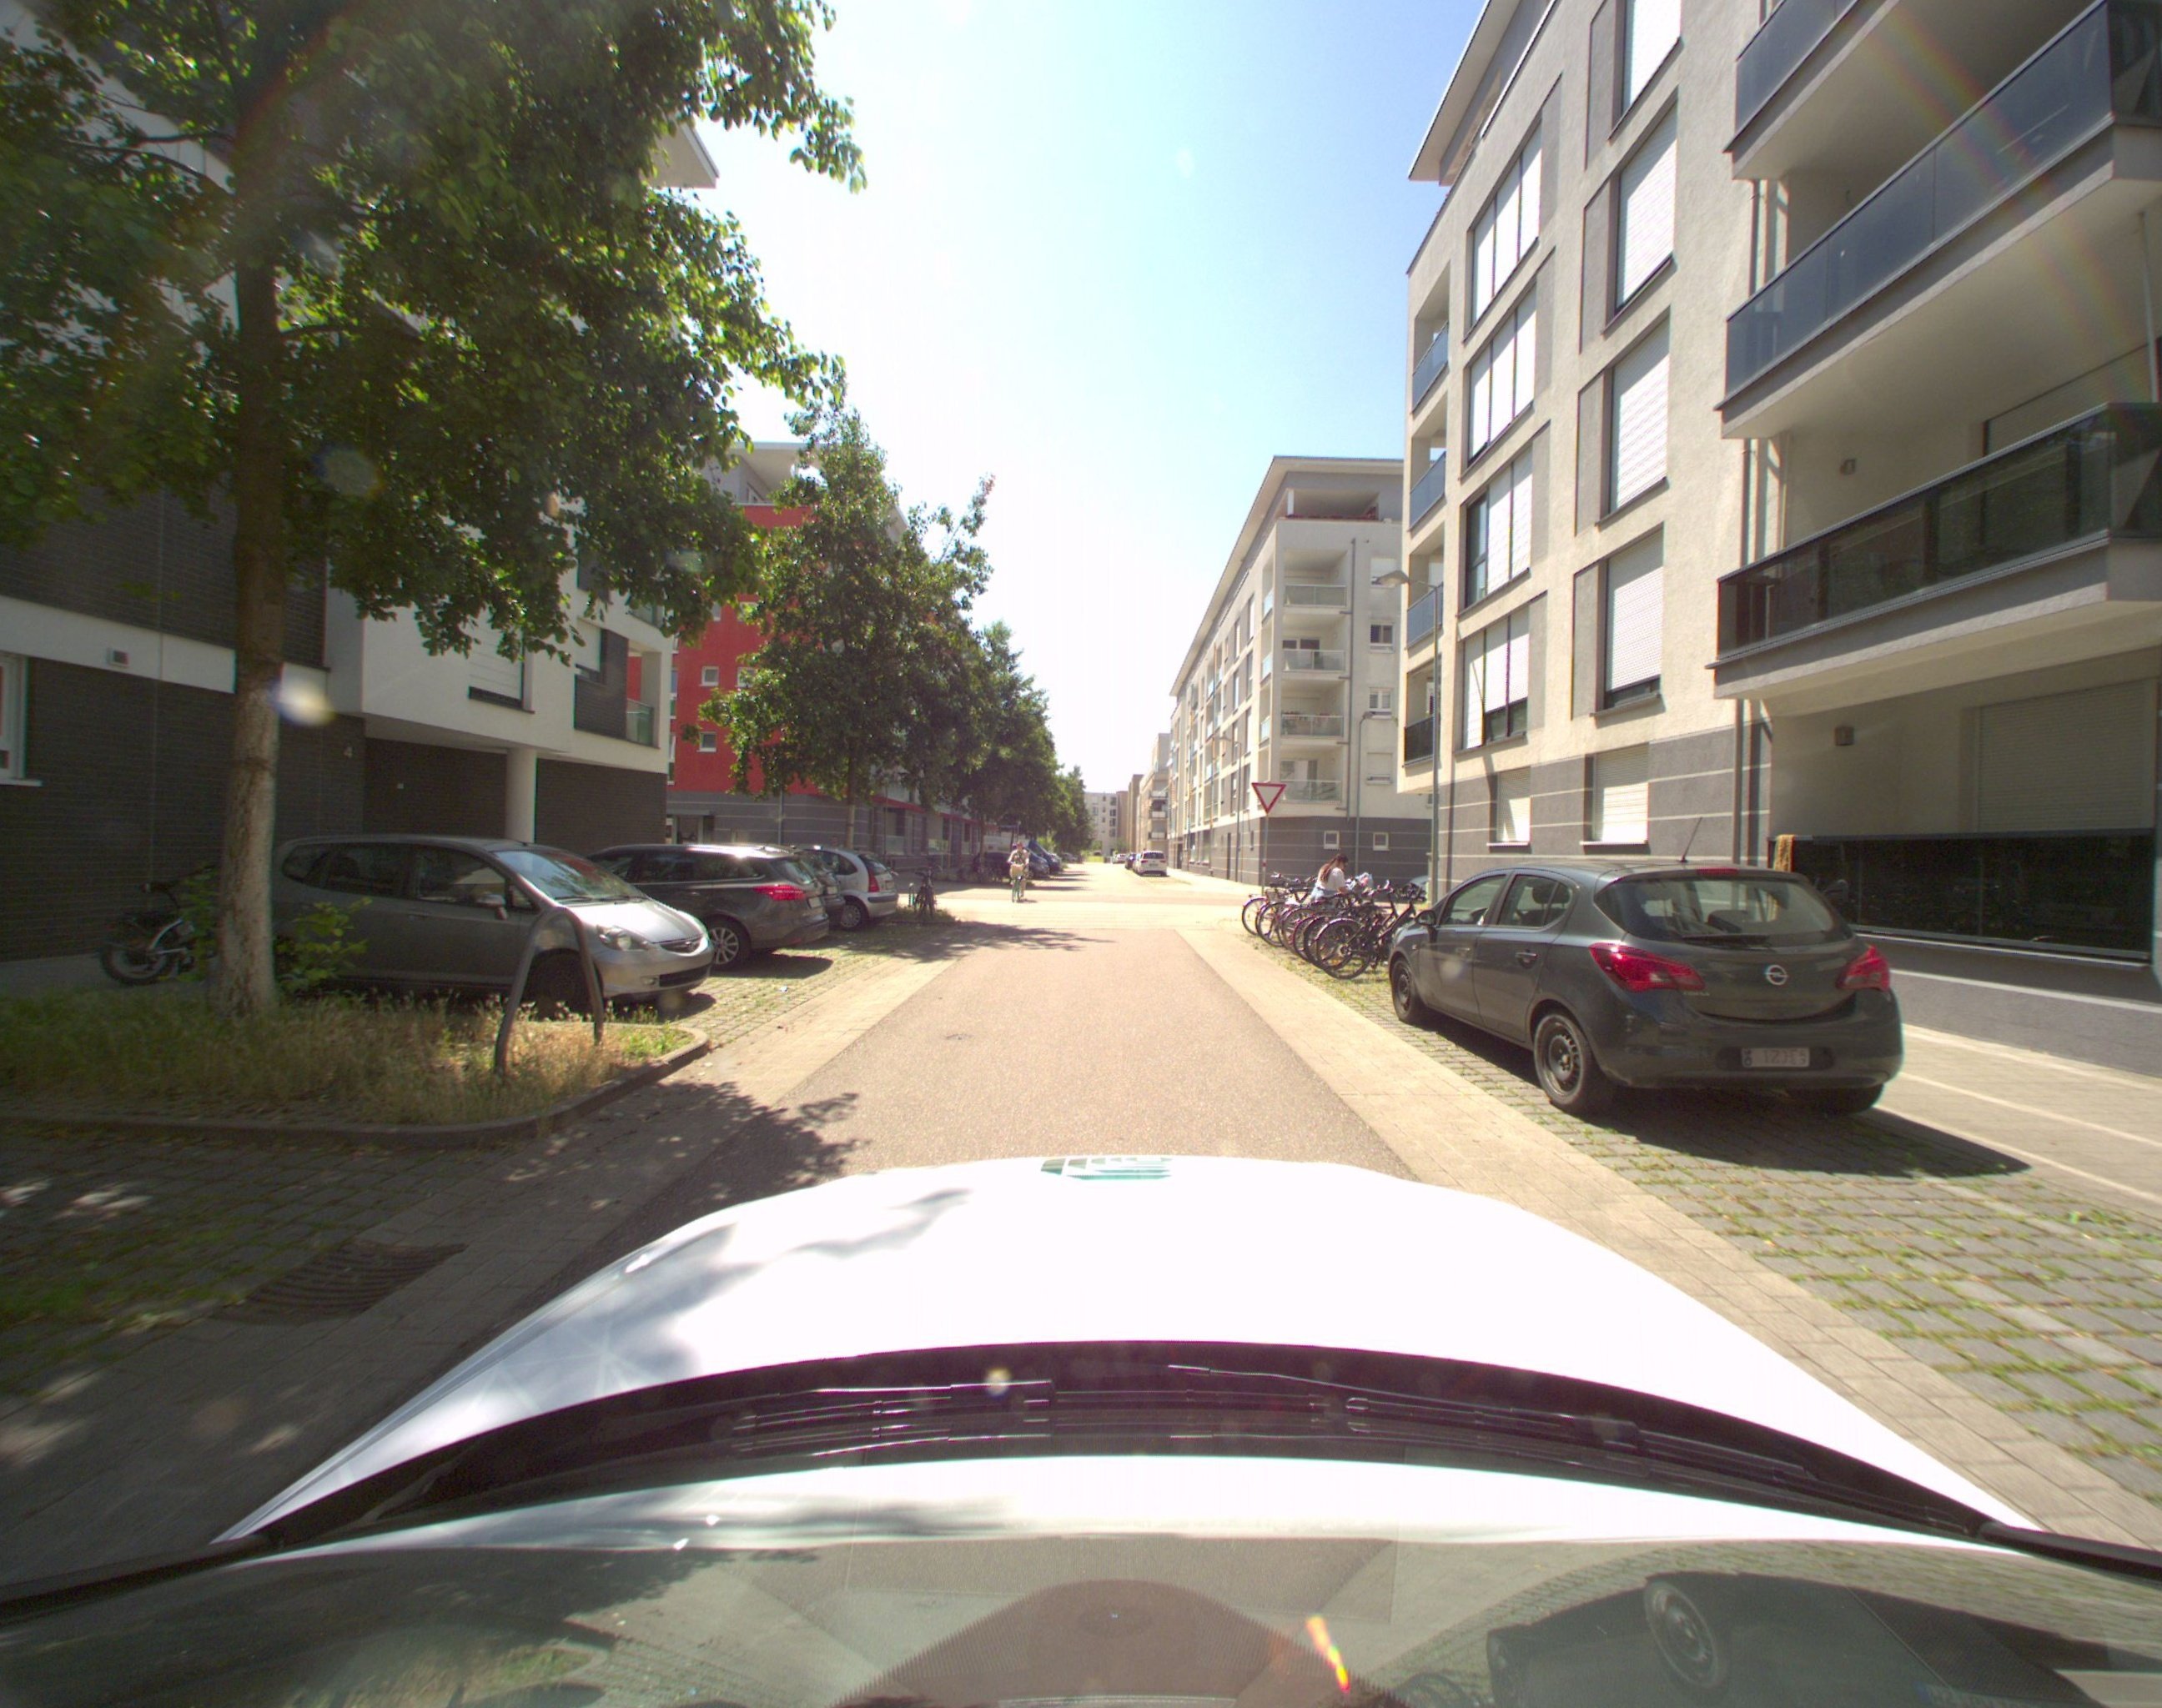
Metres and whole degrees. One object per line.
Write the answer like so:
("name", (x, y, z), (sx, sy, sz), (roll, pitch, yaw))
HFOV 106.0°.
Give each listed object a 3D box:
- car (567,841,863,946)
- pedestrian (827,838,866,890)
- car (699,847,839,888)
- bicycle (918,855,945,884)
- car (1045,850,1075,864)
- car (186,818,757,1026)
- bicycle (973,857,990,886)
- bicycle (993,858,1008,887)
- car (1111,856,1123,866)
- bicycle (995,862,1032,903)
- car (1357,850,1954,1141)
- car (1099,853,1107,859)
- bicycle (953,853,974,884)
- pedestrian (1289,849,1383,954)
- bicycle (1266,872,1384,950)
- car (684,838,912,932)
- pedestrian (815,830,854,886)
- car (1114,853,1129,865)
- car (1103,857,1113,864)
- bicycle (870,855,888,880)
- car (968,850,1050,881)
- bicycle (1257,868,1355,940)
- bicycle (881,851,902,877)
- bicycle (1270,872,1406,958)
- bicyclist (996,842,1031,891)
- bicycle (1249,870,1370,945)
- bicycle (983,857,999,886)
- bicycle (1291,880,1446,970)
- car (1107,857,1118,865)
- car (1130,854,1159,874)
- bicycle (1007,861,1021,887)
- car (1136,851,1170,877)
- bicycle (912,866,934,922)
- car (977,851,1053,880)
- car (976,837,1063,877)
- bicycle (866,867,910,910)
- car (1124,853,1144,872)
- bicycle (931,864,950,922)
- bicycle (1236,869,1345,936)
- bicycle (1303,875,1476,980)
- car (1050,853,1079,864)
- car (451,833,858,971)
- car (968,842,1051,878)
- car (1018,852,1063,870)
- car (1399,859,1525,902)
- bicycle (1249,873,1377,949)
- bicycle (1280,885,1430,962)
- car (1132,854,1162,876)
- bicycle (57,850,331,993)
("car", (-5.812, 0.601, 13.276), (3.970, 1.555, 1.801), (1, 0, 3))
("pedestrian", (-7.813, 0.314, 27.150), (0.996, 1.690, 0.832), (1, 0, 2))
("car", (-11.864, 0.497, 31.196), (4.559, 1.383, 1.937), (1, 2, -2))
("bicycle", (-6.663, 0.666, 36.456), (0.687, 1.170, 2.224), (4, 1, 2))
("car", (-3.006, 0.451, 118.130), (3.965, 2.013, 2.004), (1, 0, 7))
("car", (-5.457, 0.563, 7.730), (3.924, 1.553, 1.872), (3, 0, 0))
("bicycle", (-4.493, 0.763, 36.802), (0.517, 1.204, 1.752), (3, 1, -1))
("bicycle", (-3.605, 0.823, 36.531), (0.569, 1.174, 1.765), (4, 1, -6))
("car", (6.601, 1.208, 149.640), (1.987, 1.717, 4.000), (1, 0, 0))
("bicycle", (-2.027, 0.840, 24.729), (0.895, 1.129, 2.040), (1, 0, 1))
("car", (3.670, 0.722, 6.301), (1.732, 1.485, 4.230), (0, 0, 1))
("car", (5.547, 0.571, 205.861), (1.987, 1.519, 4.000), (1, 0, 0))
("bicycle", (-5.260, 0.641, 36.605), (0.591, 1.331, 1.813), (1, 1, 2))
("pedestrian", (3.797, 0.688, 12.177), (1.178, 1.515, 0.686), (0, 0, -9))
("bicycle", (3.792, 0.864, 12.633), (1.838, 1.148, 0.458), (0, 0, -18))
("car", (-5.274, 0.560, 15.545), (3.617, 1.520, 1.832), (3, 0, 1))
("pedestrian", (-9.016, 0.149, 29.796), (1.004, 2.013, 1.130), (1, 0, 4))
("car", (6.102, 0.783, 122.413), (1.987, 1.675, 4.000), (1, 0, 0))
("car", (6.158, 1.416, 184.970), (1.985, 1.519, 4.004), (1, 0, 3))
("bicycle", (-9.377, 0.593, 37.865), (0.607, 1.107, 2.099), (1, 0, -9))
("car", (-4.076, 0.660, 46.663), (4.367, 1.515, 2.075), (3, 0, 1))
("bicycle", (3.927, 0.864, 14.285), (1.546, 1.218, 0.707), (0, 0, -1))
("bicycle", (-9.392, 0.489, 40.494), (0.549, 1.240, 1.925), (1, 0, 1))
("bicycle", (3.790, 0.881, 12.049), (1.922, 1.218, 0.459), (0, 0, -8))
("bicyclist", (-2.040, 0.368, 24.684), (0.950, 1.459, 0.800), (1, 0, 0))
("bicycle", (3.780, 0.876, 13.605), (1.911, 1.179, 0.640), (0, 0, 10))
("bicycle", (-4.036, 0.783, 36.543), (0.432, 1.204, 1.701), (3, 1, 2))
("bicycle", (3.741, 0.908, 10.693), (1.782, 1.104, 0.746), (0, 0, -3))
("car", (6.339, 1.463, 163.710), (1.987, 1.519, 4.000), (1, 0, 0))
("car", (5.003, 0.775, 64.275), (1.987, 1.524, 4.000), (1, 0, 0))
("bicycle", (-3.011, 0.888, 36.743), (0.464, 1.141, 1.925), (1, 0, -1))
("car", (4.715, 0.653, 53.746), (1.990, 1.657, 4.117), (1, 0, 2))
("bicycle", (-3.480, 0.854, 18.012), (0.434, 1.128, 1.971), (1, 0, -11))
("car", (-3.944, 0.691, 49.213), (4.367, 1.542, 1.879), (3, 0, 1))
("car", (-4.399, 0.201, 59.290), (6.002, 2.816, 2.605), (1, 0, 1))
("bicycle", (-4.749, 0.832, 20.156), (0.531, 0.990, 1.678), (3, -1, 4))
("car", (4.843, 0.762, 73.860), (1.749, 1.552, 4.005), (2, 0, 5))
("bicycle", (-3.119, 0.831, 18.035), (0.371, 1.180, 1.814), (1, 0, -11))
("bicycle", (3.835, 0.874, 14.996), (1.851, 1.193, 0.688), (0, 0, 4))
("bicycle", (3.734, 0.875, 9.947), (1.865, 1.218, 0.715), (0, 0, -3))
("car", (-2.401, 0.673, 120.692), (3.965, 1.602, 2.004), (1, 0, 7))
("car", (-5.293, 0.597, 10.625), (4.170, 1.486, 1.957), (2, -1, -3))
("car", (-4.661, 0.402, 53.860), (5.127, 2.119, 2.312), (2, 0, 1))
("car", (-3.766, 0.636, 76.488), (3.970, 1.618, 2.002), (1, 0, 3))
("car", (14.538, 0.994, 31.209), (3.974, 1.469, 1.755), (1, 2, -1))
("bicycle", (3.667, 0.890, 13.000), (1.911, 1.133, 0.611), (0, 0, 10))
("bicycle", (3.808, 0.955, 11.387), (1.919, 1.035, 0.559), (0, 0, -3))
("car", (4.772, 0.769, 59.448), (1.986, 1.524, 4.002), (1, 0, 2))
("bicycle", (-8.310, 0.569, 7.763), (0.564, 1.190, 1.776), (1, 0, 4))
